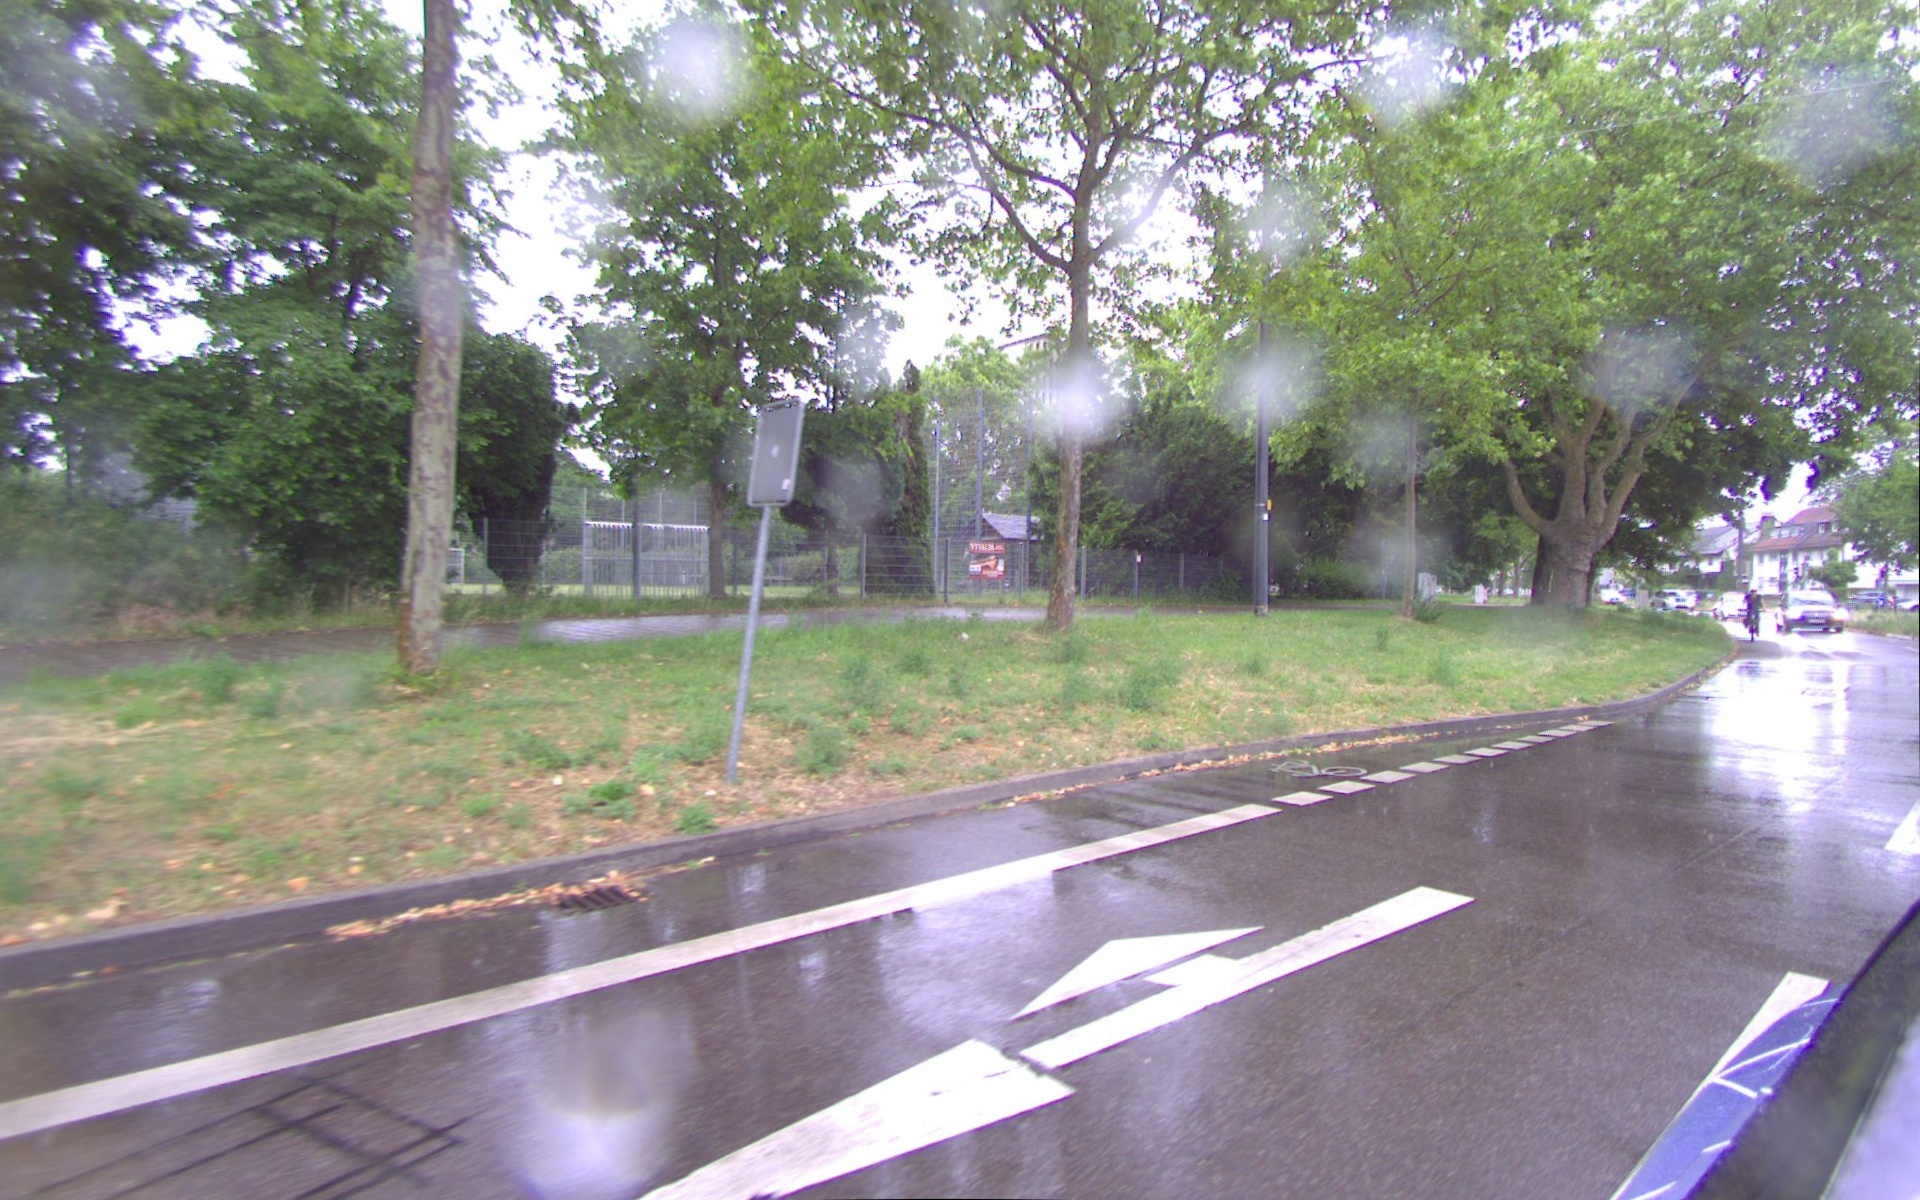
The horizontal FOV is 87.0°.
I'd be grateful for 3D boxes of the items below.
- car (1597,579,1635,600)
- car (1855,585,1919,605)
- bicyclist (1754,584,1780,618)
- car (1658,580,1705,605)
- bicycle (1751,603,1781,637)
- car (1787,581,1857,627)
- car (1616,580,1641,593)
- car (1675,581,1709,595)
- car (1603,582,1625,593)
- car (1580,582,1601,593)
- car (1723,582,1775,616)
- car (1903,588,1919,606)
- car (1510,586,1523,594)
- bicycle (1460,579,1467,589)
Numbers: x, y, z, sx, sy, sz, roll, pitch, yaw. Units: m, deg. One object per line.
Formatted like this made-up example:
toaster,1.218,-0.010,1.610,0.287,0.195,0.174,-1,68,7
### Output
car,57.872,-0.988,89.355,1.745,1.746,3.913,2,2,17
car,78.348,-0.461,85.290,3.949,1.596,1.881,2,1,20
bicyclist,26.572,0.036,33.313,0.620,1.098,0.615,2,2,42
car,52.753,-0.585,74.026,1.747,1.746,3.909,2,2,20
bicycle,26.669,0.631,33.483,0.657,1.026,2.223,2,2,41
car,34.371,0.134,40.433,1.757,1.747,3.885,-1,0,35
car,92.097,-1.829,139.403,1.825,1.727,4.159,0,1,18
car,84.552,-1.391,116.896,1.975,1.634,4.653,0,1,20
car,94.757,-1.801,146.645,1.696,1.548,3.580,-2,0,19
car,97.799,-2.006,157.025,1.737,1.634,4.085,-2,0,19
car,43.467,-0.096,55.818,1.754,1.746,3.891,1,1,31
car,75.696,-0.235,77.479,4.687,1.382,1.834,0,1,23
car,112.481,-2.015,204.614,1.737,1.535,3.830,-2,0,19
bicycle,62.604,-1.949,125.823,0.707,1.156,1.953,1,3,28
